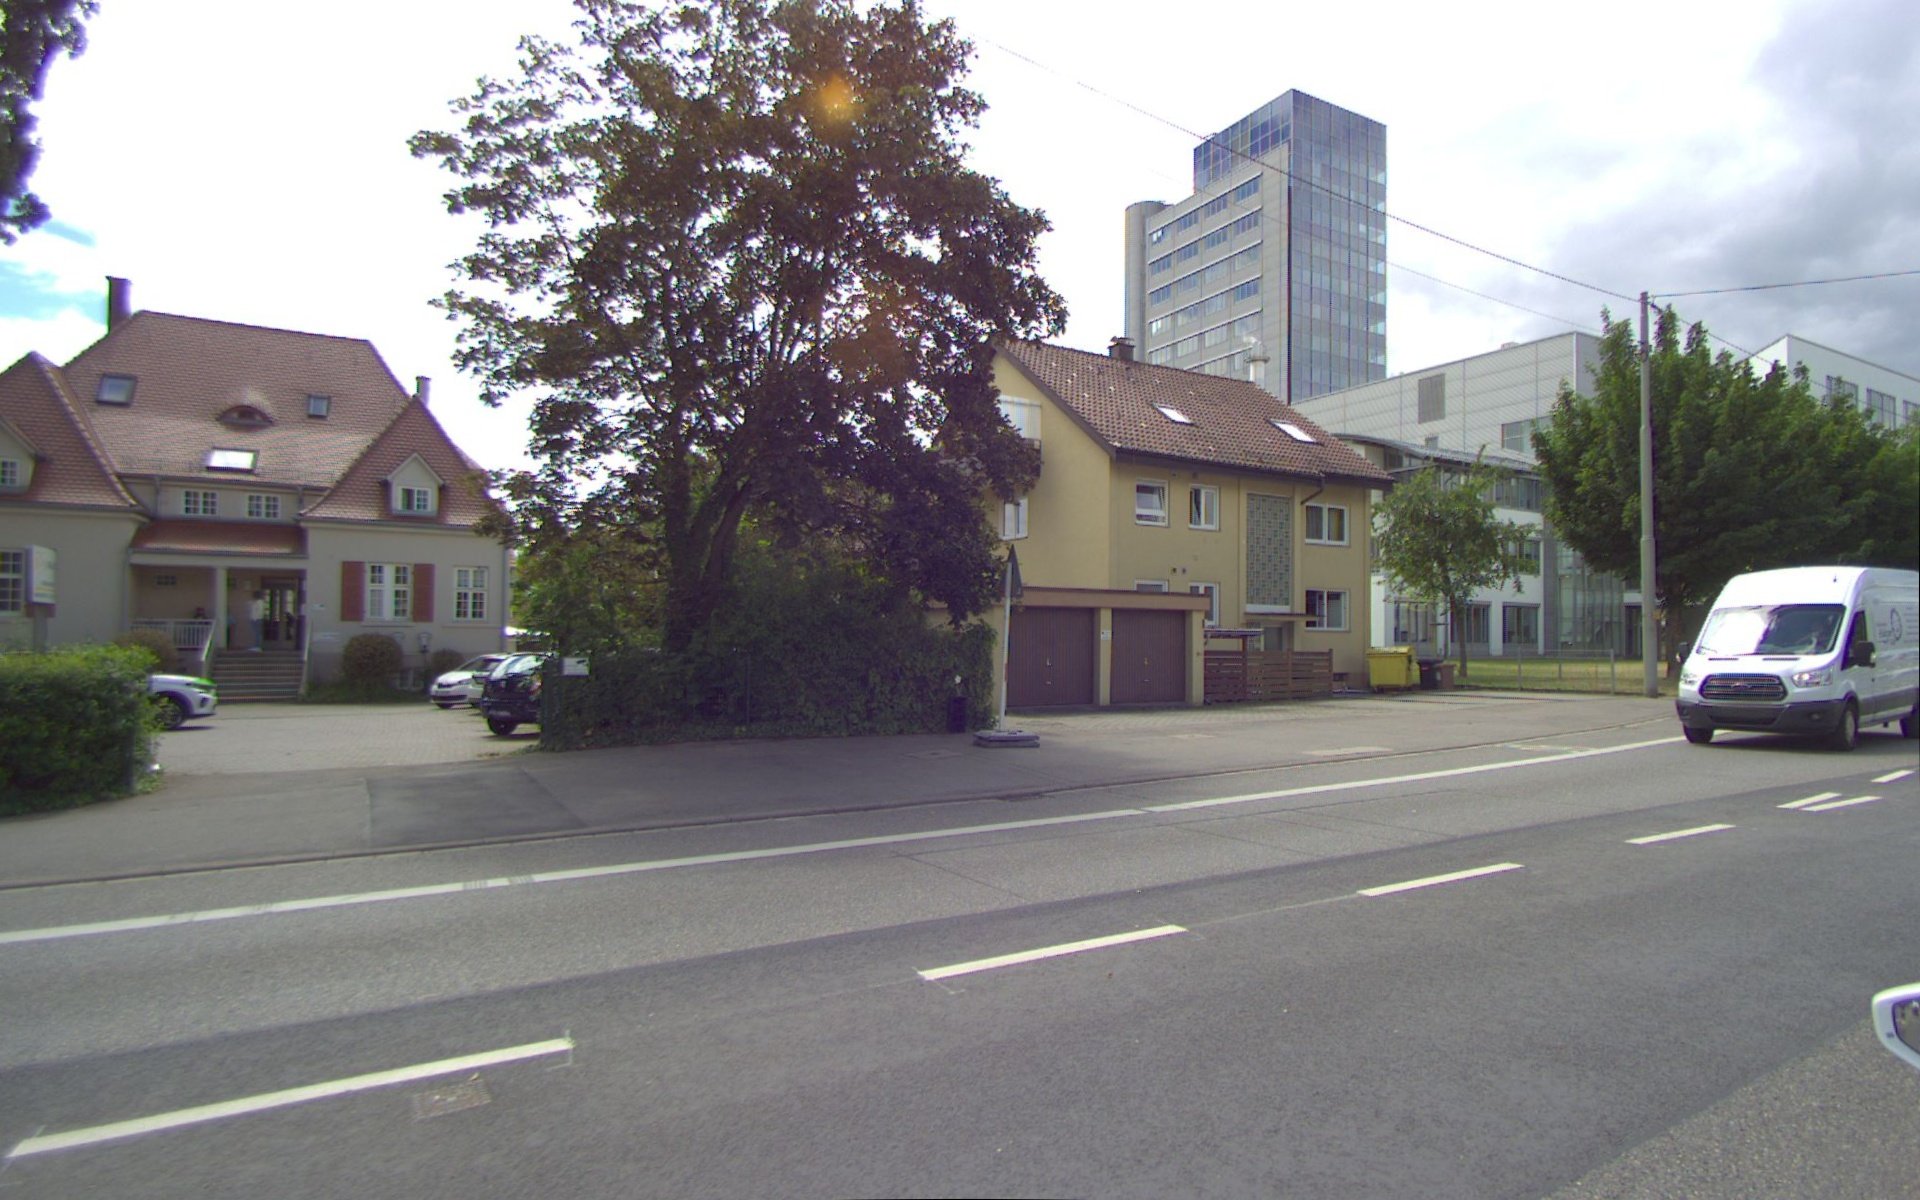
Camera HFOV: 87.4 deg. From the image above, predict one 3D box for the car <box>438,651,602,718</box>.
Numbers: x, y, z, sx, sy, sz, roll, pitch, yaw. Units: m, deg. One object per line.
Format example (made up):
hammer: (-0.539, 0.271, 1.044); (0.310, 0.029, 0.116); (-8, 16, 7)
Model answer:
car: (-11.157, 2.088, 25.661); (1.639, 1.535, 3.495); (-1, -2, 36)

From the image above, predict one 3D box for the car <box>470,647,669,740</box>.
car: (-7.375, 1.711, 19.302); (1.634, 1.535, 3.434); (-1, -2, 23)

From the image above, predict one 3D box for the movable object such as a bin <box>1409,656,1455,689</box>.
movable object such as a bin: (14.084, 2.150, 29.977); (0.985, 0.954, 0.745); (1, -3, -23)

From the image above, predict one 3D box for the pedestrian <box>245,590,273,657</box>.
pedestrian: (-20.416, 0.692, 29.267); (0.576, 1.933, 0.587); (1, -3, -29)

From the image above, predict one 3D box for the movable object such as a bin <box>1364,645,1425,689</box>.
movable object such as a bin: (13.526, 2.072, 31.252); (1.389, 1.347, 1.417); (-3, -4, 39)

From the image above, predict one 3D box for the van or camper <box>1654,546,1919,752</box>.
van or camper: (13.547, 0.765, 16.027); (5.990, 2.769, 1.982); (1, -3, -34)

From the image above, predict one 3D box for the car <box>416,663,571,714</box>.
car: (-12.640, 2.365, 27.357); (1.639, 1.176, 3.495); (-1, -2, 36)

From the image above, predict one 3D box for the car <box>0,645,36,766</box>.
car: (-14.079, 1.346, 12.568); (3.397, 1.535, 1.652); (1, -2, -32)

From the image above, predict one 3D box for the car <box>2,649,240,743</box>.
car: (-16.584, 1.844, 20.087); (3.397, 1.685, 1.652); (1, -2, -32)

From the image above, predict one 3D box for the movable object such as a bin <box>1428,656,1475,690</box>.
movable object such as a bin: (14.298, 2.106, 29.220); (0.985, 0.954, 0.745); (1, -3, -23)
